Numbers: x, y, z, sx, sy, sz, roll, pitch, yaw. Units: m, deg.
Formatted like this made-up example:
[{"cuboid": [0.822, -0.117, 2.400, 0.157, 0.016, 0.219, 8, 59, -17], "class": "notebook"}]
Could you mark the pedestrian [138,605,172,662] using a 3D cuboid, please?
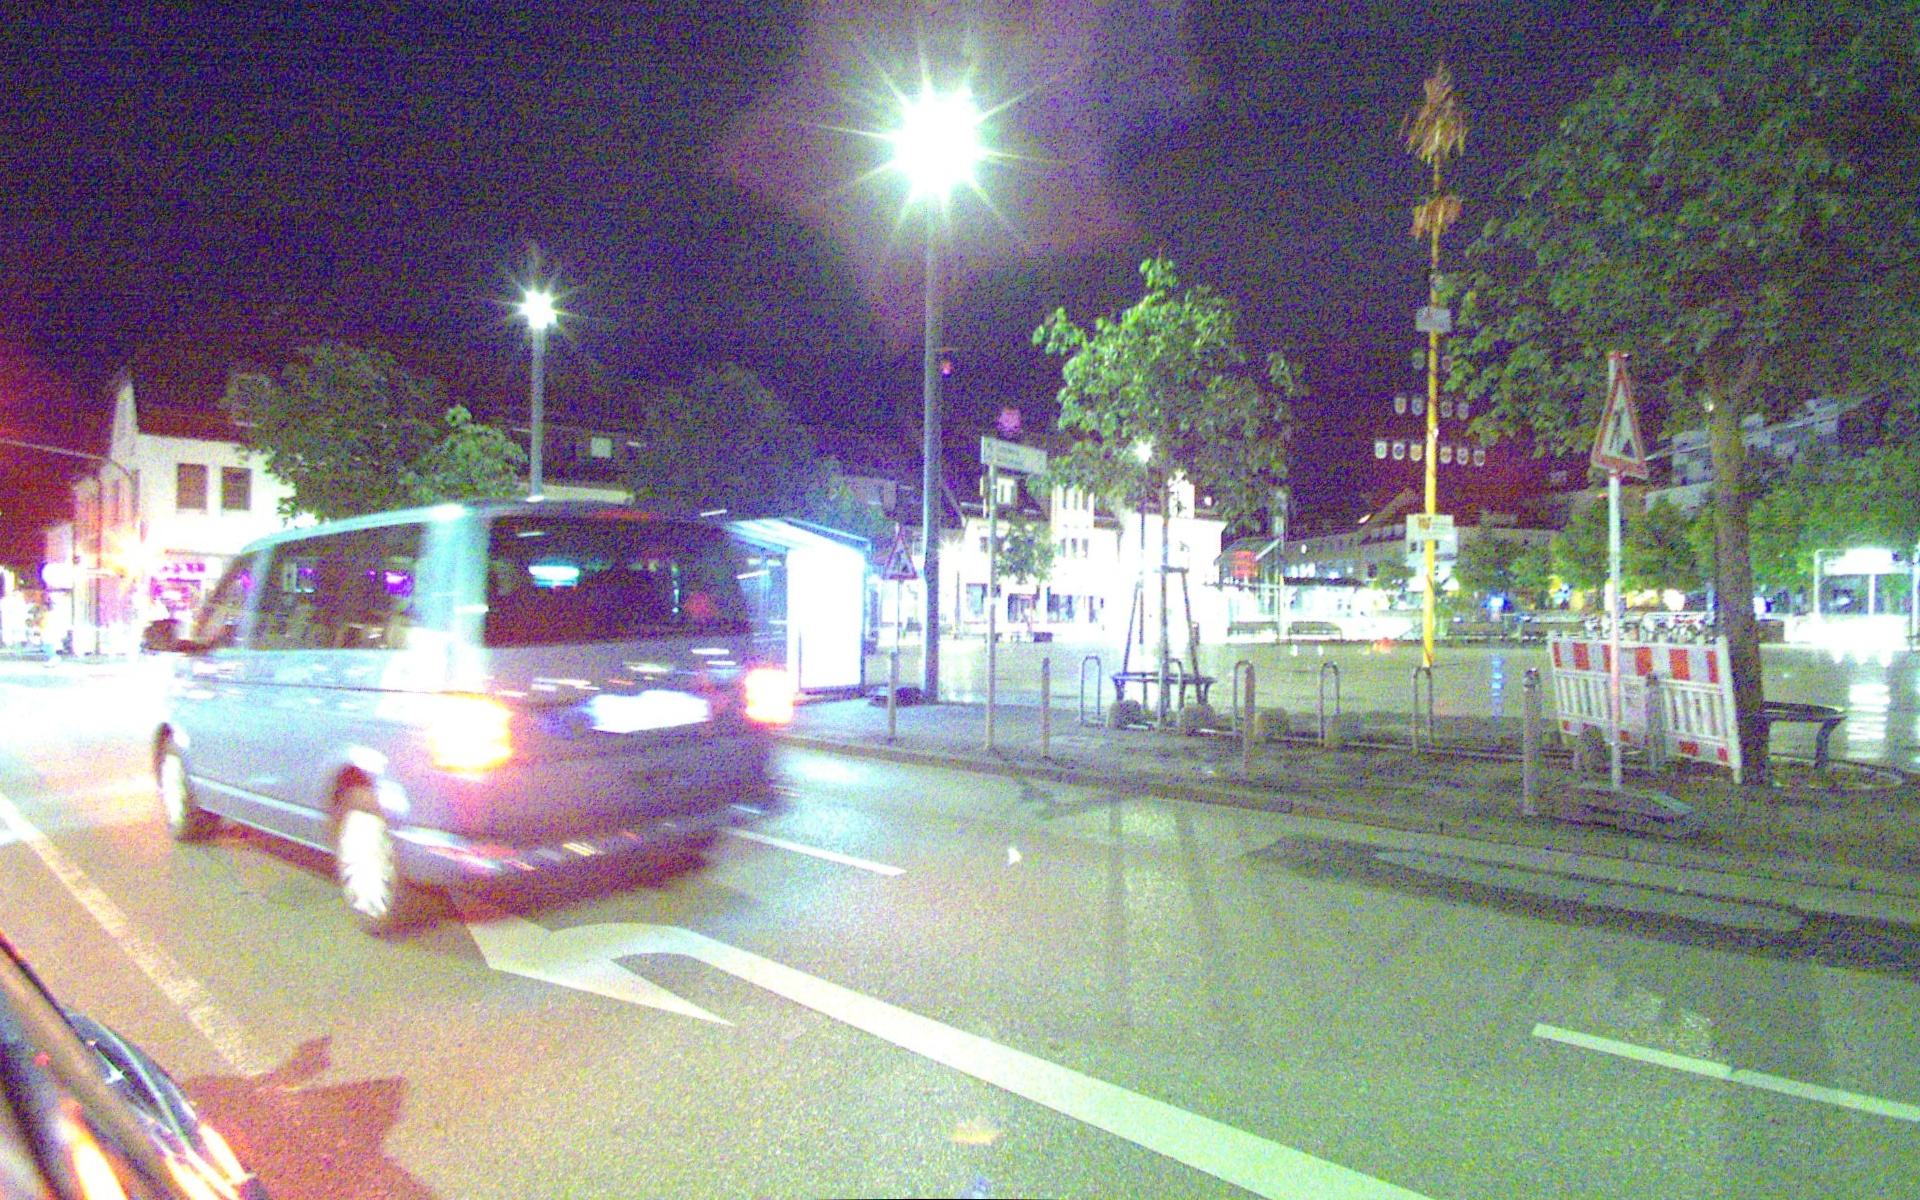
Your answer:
[{"cuboid": [-23.523, 0.976, 29.572, 0.573, 1.640, 0.649, -1, 0, -19], "class": "pedestrian"}]

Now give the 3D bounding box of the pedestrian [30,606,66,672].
[{"cuboid": [-23.735, 1.005, 26.342, 0.531, 1.694, 0.649, -1, 0, -27], "class": "pedestrian"}]

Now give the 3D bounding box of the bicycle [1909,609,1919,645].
[{"cuboid": [26.414, 0.715, 26.987, 1.525, 0.965, 0.476, -1, 0, 25], "class": "bicycle"}]

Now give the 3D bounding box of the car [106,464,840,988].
[{"cuboid": [-3.131, 0.488, 5.950, 4.906, 1.886, 1.948, -1, -1, 38], "class": "car"}]

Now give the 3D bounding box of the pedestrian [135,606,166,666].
[{"cuboid": [-23.211, 1.012, 29.031, 0.573, 1.694, 0.649, -1, 0, -27], "class": "pedestrian"}]
